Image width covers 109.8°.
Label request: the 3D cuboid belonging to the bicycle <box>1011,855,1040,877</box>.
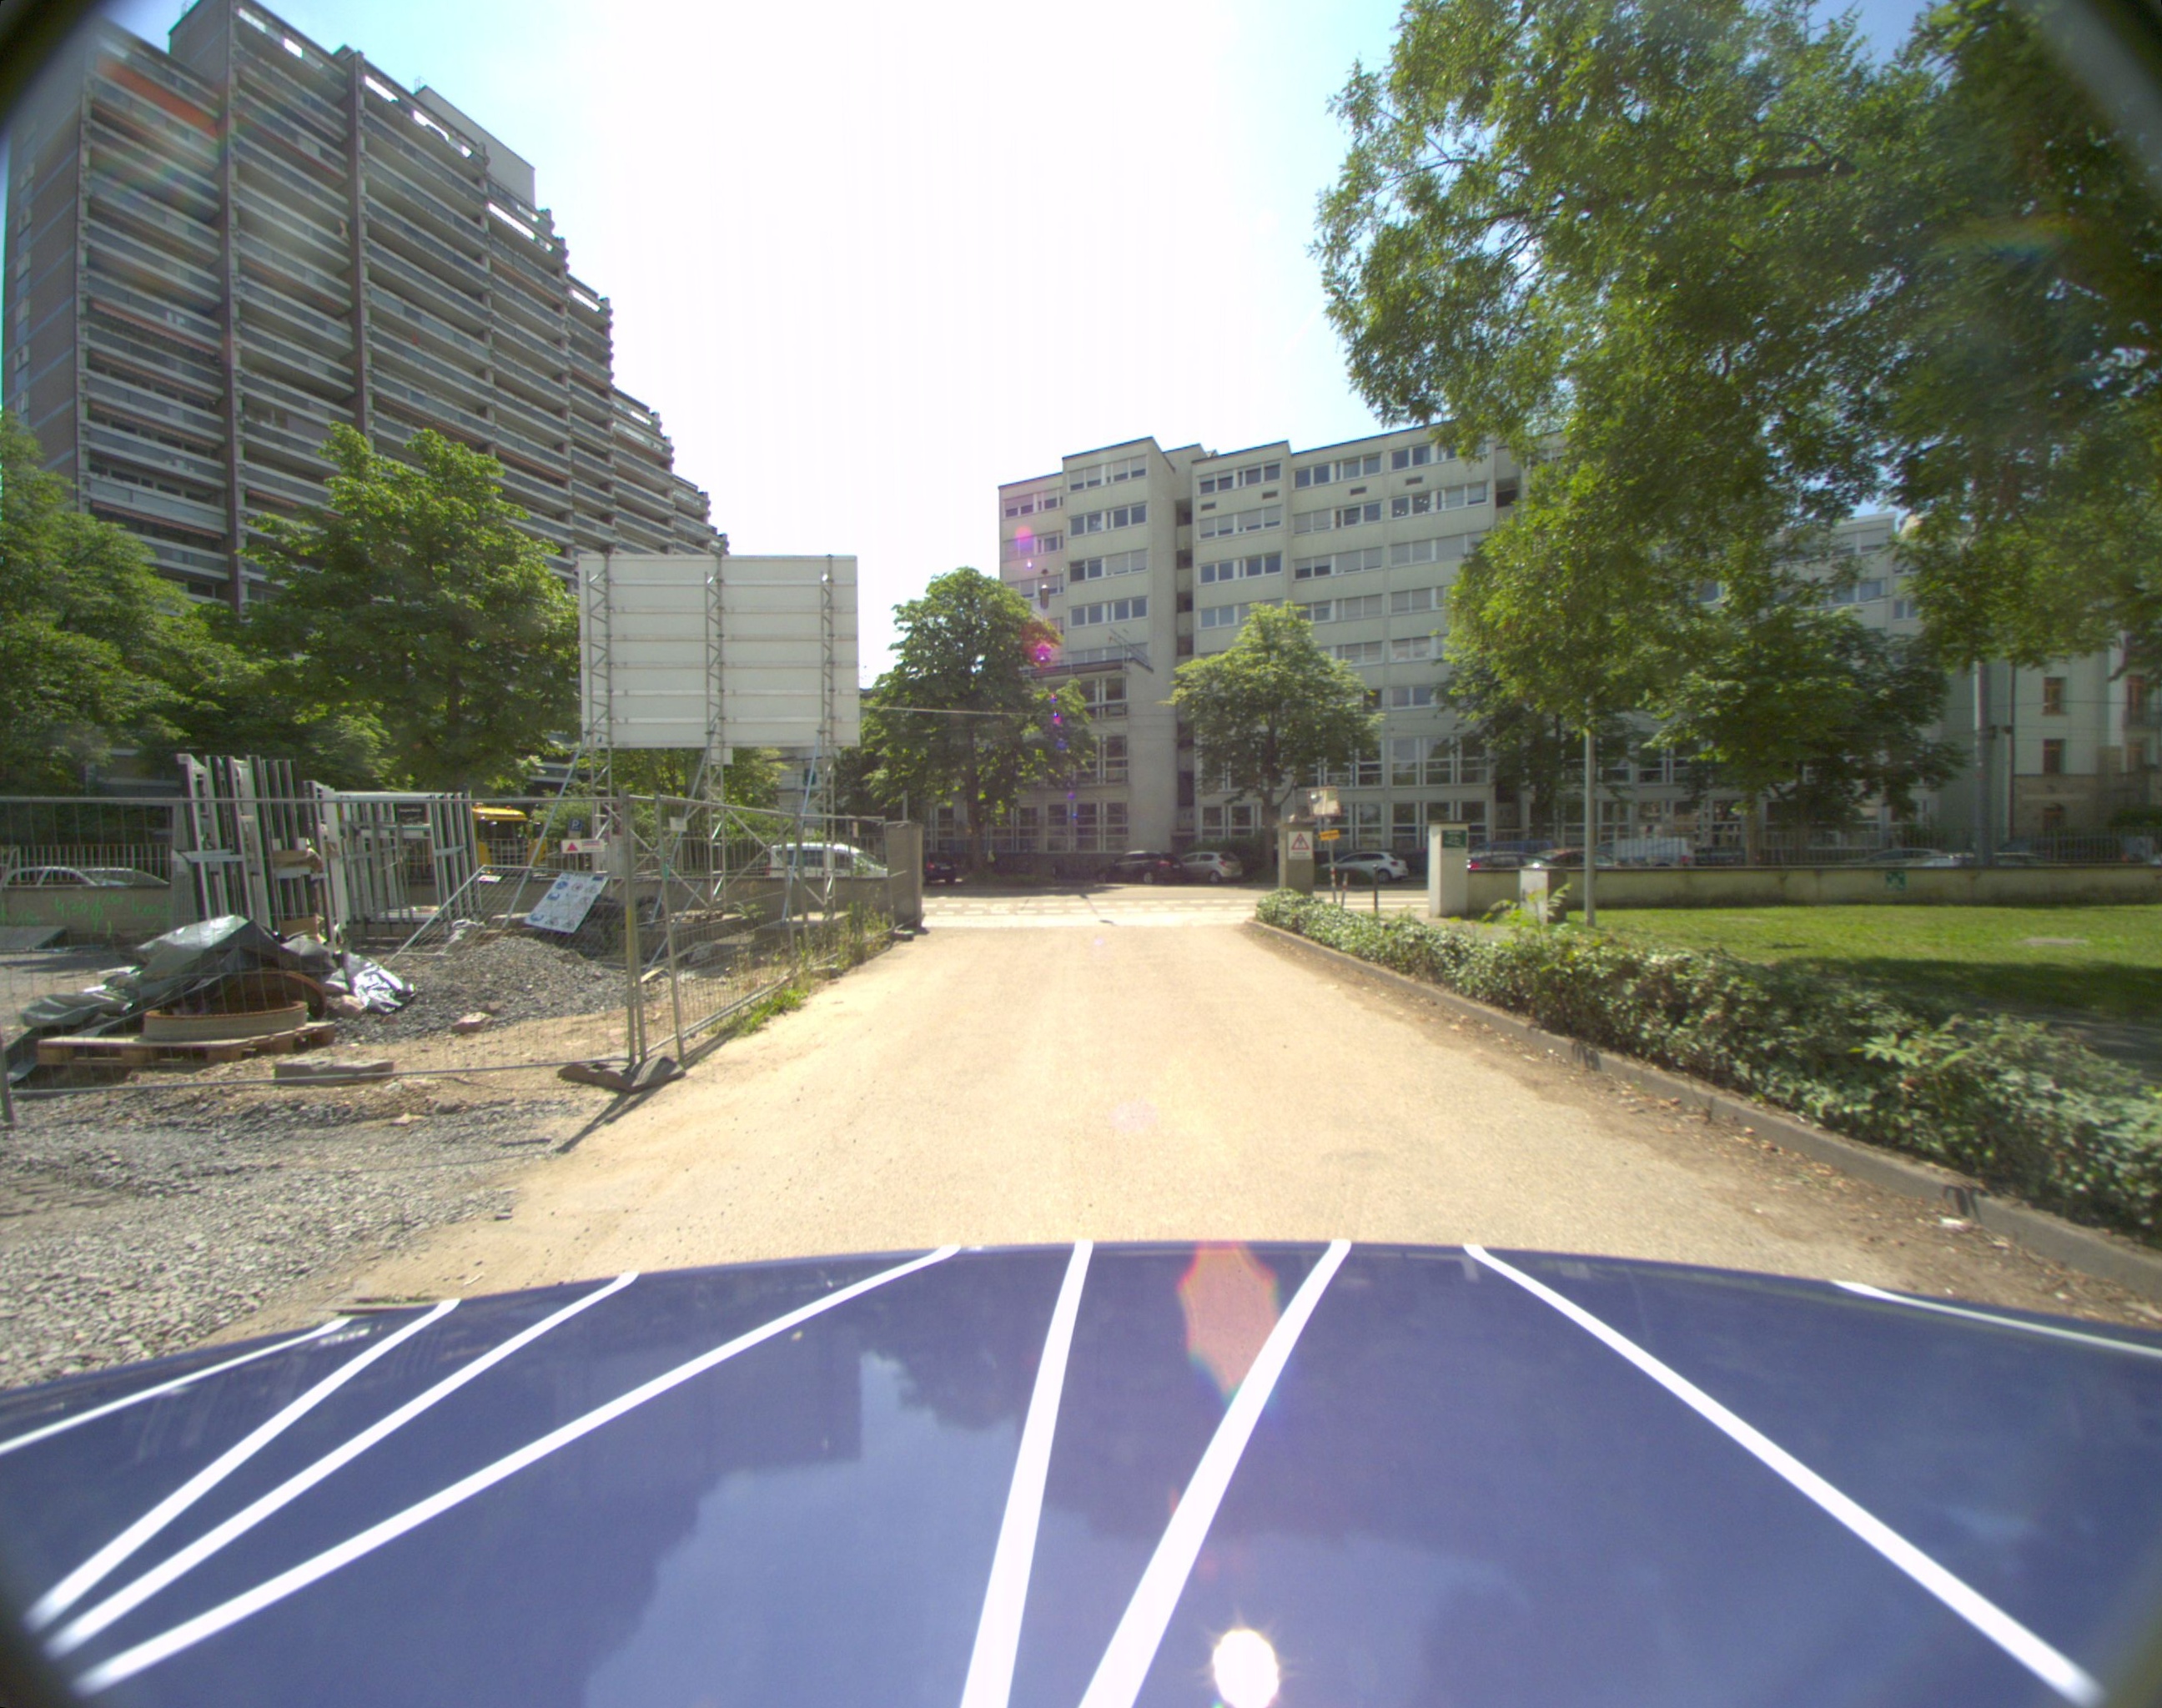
[{"bbox_3d":[-3.010,0.634,41.059,0.567,1.124,1.947,0,1,29],"label":"bicycle"}]

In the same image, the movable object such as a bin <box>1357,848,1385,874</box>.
[{"bbox_3d":[15.505,0.371,40.639,1.180,1.390,1.038,-1,0,6],"label":"movable object such as a bin"}]

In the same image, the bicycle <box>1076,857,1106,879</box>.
[{"bbox_3d":[0.553,0.728,40.176,0.567,1.124,2.239,0,1,29],"label":"bicycle"}]

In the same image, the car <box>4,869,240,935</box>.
[{"bbox_3d":[-22.571,1.111,17.968,3.580,1.431,1.623,-1,1,2],"label":"car"}]

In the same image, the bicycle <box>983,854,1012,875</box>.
[{"bbox_3d":[-4.591,0.587,41.866,0.567,1.124,1.947,0,1,29],"label":"bicycle"}]

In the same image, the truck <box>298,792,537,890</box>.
[{"bbox_3d":[-29.044,-0.507,33.311,9.726,3.983,2.753,0,1,14],"label":"truck"}]

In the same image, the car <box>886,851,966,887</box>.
[{"bbox_3d":[-7.018,0.649,34.258,3.565,1.508,1.653,-1,1,42],"label":"car"}]

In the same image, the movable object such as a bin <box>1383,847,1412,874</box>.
[{"bbox_3d":[16.923,0.356,40.610,1.180,1.390,1.038,-1,0,6],"label":"movable object such as a bin"}]

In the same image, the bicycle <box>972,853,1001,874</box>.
[{"bbox_3d":[-5.230,0.520,42.250,0.567,1.124,1.931,0,1,29],"label":"bicycle"}]

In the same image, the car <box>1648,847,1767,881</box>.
[{"bbox_3d":[29.215,0.428,35.522,1.674,1.477,3.989,-1,0,-36],"label":"car"}]

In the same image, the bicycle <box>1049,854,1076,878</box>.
[{"bbox_3d":[-0.982,0.649,40.776,0.567,1.230,1.947,0,1,29],"label":"bicycle"}]

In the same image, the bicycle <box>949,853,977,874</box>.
[{"bbox_3d":[-6.647,0.508,42.860,0.567,1.124,1.931,0,1,26],"label":"bicycle"}]

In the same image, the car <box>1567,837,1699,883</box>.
[{"bbox_3d":[25.681,0.243,35.492,2.004,2.002,4.617,-1,1,-40],"label":"car"}]

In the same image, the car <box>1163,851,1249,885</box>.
[{"bbox_3d":[5.738,0.611,35.156,3.530,1.454,1.758,0,1,42],"label":"car"}]

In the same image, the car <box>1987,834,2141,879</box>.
[{"bbox_3d":[45.969,0.104,35.659,2.002,2.002,3.993,-1,0,-19],"label":"car"}]

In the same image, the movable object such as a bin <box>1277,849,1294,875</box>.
[{"bbox_3d":[11.213,0.418,41.674,0.802,1.397,0.768,-1,0,12],"label":"movable object such as a bin"}]

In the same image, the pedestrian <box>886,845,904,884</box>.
[{"bbox_3d":[-9.063,0.514,36.943,0.576,1.864,0.716,0,1,12],"label":"pedestrian"}]

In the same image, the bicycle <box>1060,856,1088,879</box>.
[{"bbox_3d":[-0.354,0.698,40.164,0.567,1.124,1.947,0,1,29],"label":"bicycle"}]

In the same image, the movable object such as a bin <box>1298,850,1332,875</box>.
[{"bbox_3d":[12.405,0.437,40.364,1.451,1.322,1.126,-1,0,0],"label":"movable object such as a bin"}]

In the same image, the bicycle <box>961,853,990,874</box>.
[{"bbox_3d":[-5.902,0.524,42.626,0.567,1.124,1.931,0,1,26],"label":"bicycle"}]

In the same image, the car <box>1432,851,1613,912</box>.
[{"bbox_3d":[11.122,0.683,19.280,3.725,1.447,1.588,0,-2,-6],"label":"car"}]

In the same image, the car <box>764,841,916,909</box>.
[{"bbox_3d":[-7.103,0.588,22.698,3.998,1.845,1.517,-1,4,-4],"label":"car"}]

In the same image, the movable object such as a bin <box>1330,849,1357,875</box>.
[{"bbox_3d":[13.977,0.420,40.474,1.076,1.322,0.971,-1,0,0],"label":"movable object such as a bin"}]

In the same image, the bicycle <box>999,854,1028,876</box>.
[{"bbox_3d":[-3.685,0.583,41.469,0.567,1.124,1.947,0,1,29],"label":"bicycle"}]

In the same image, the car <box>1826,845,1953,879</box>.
[{"bbox_3d":[38.749,0.334,36.577,3.987,1.380,1.754,3,5,41],"label":"car"}]

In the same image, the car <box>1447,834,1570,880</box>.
[{"bbox_3d":[19.689,0.142,35.114,4.617,2.002,2.004,0,1,43],"label":"car"}]

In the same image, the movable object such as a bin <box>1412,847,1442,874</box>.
[{"bbox_3d":[18.453,0.339,40.574,1.180,1.390,1.038,-1,0,6],"label":"movable object such as a bin"}]

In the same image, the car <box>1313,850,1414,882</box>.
[{"bbox_3d":[12.969,0.534,35.000,3.969,1.405,1.718,0,1,41],"label":"car"}]

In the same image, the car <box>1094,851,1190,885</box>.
[{"bbox_3d":[2.749,0.612,34.998,4.185,1.461,1.758,0,1,42],"label":"car"}]
